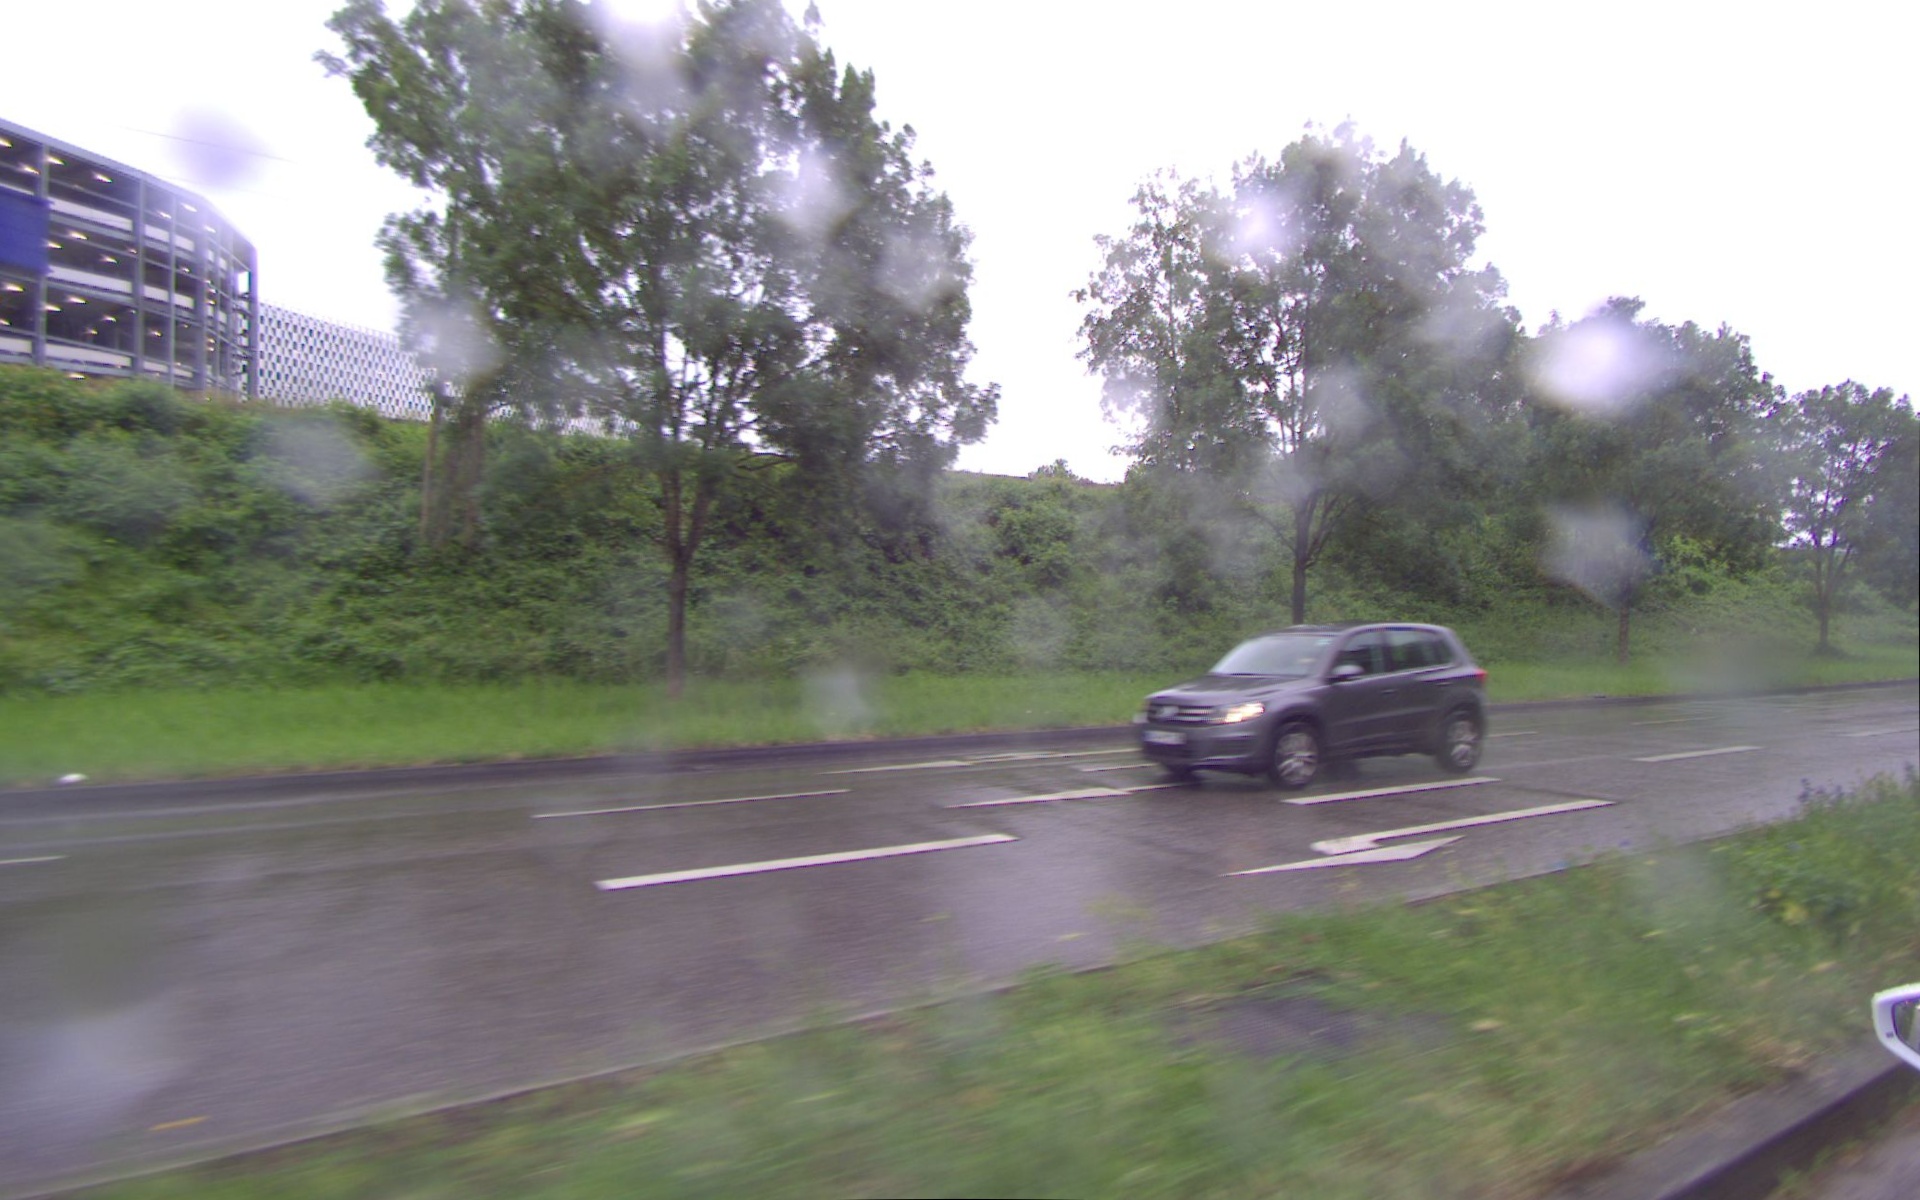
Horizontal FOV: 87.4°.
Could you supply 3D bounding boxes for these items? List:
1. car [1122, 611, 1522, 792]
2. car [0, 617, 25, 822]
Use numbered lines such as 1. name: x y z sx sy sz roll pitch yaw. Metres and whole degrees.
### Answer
1. car: 3.976 1.002 10.952 4.062 1.634 1.891 1 -4 -29
2. car: -9.351 0.904 6.545 4.427 1.634 1.888 1 -2 -32
